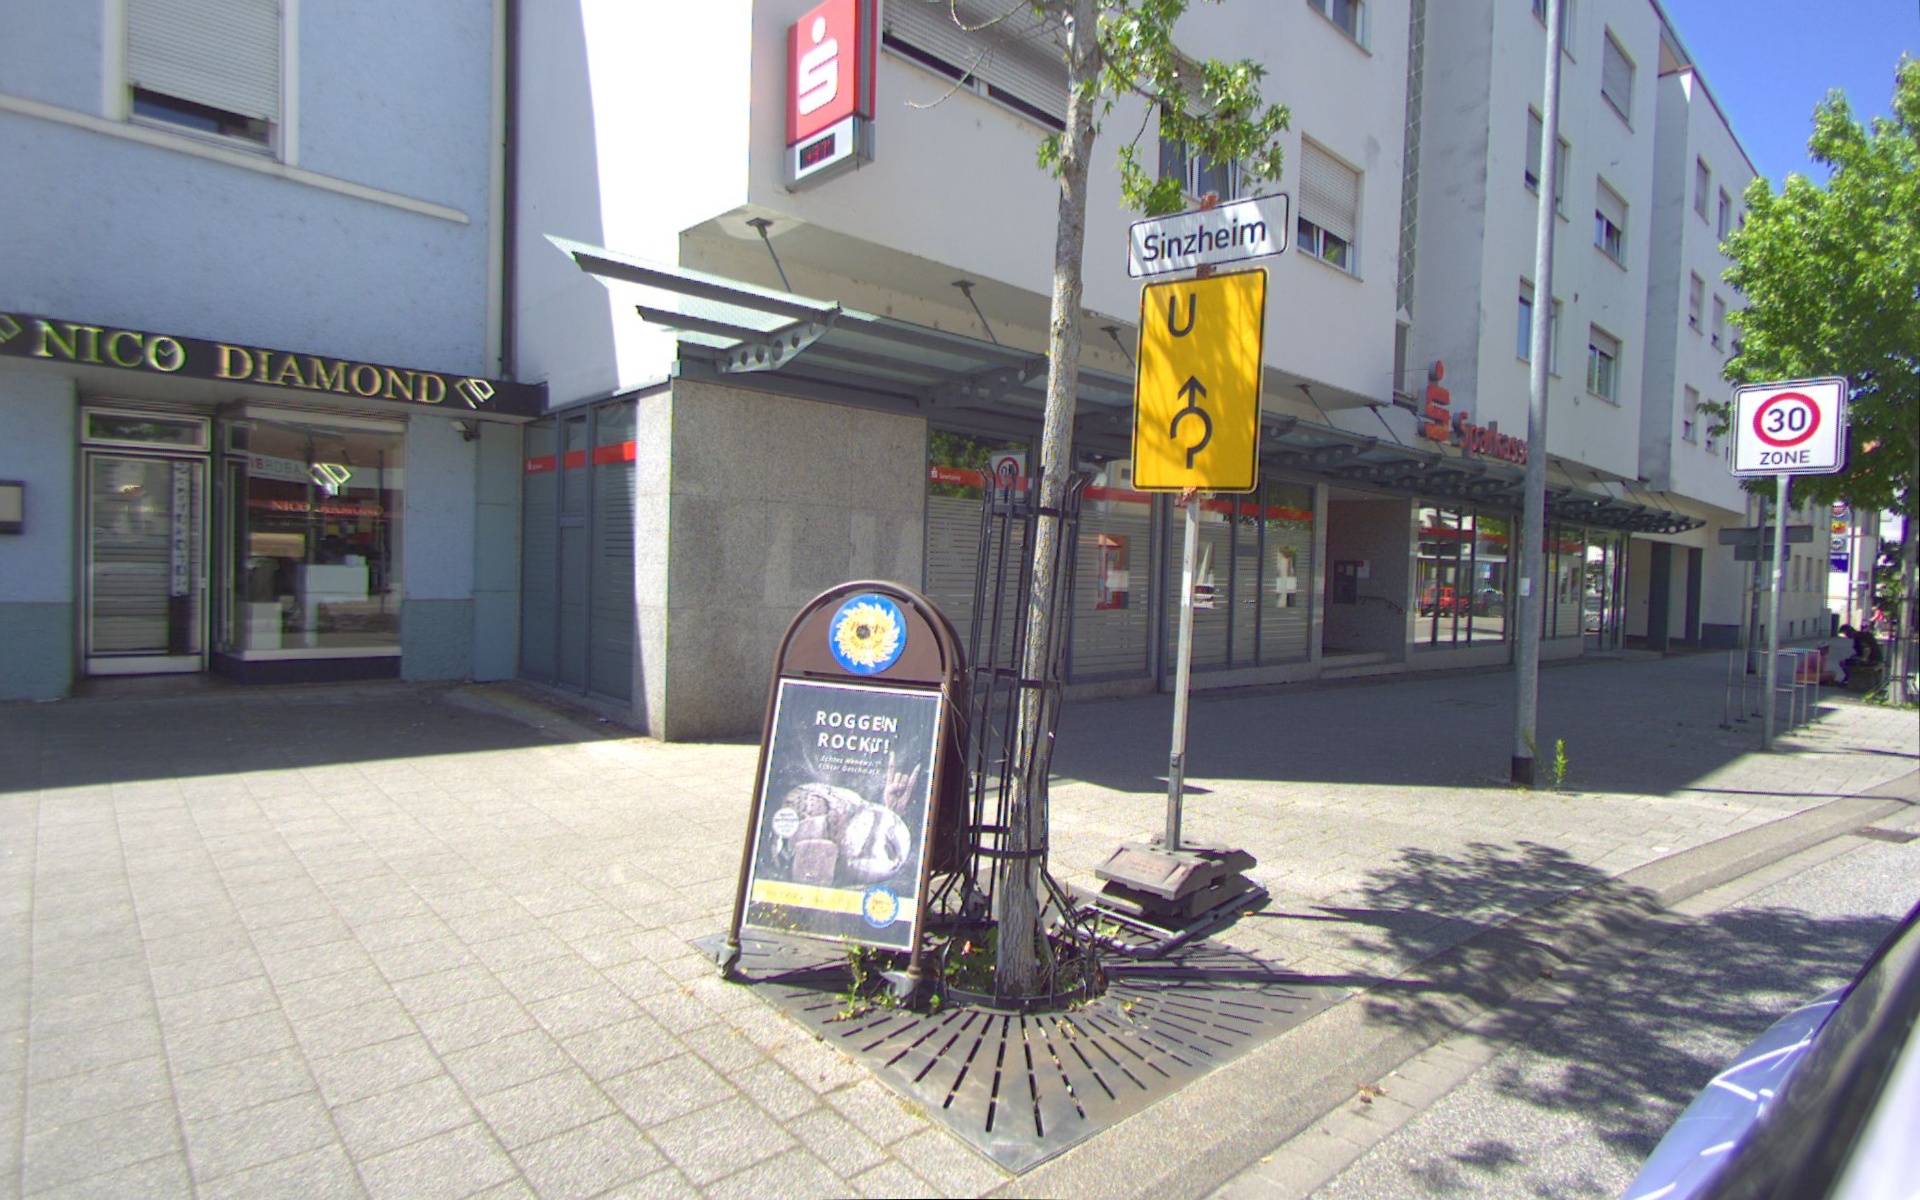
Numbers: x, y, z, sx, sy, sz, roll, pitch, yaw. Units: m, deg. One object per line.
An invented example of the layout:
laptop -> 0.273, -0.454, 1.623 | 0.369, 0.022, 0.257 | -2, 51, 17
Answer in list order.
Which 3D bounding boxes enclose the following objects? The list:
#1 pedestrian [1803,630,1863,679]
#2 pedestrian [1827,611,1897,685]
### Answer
pedestrian -> 16.706, 1.036, 19.376 | 0.527, 0.862, 0.681 | 1, 3, -28
pedestrian -> 16.397, 0.858, 18.404 | 0.527, 1.255, 0.764 | 1, 2, -28
